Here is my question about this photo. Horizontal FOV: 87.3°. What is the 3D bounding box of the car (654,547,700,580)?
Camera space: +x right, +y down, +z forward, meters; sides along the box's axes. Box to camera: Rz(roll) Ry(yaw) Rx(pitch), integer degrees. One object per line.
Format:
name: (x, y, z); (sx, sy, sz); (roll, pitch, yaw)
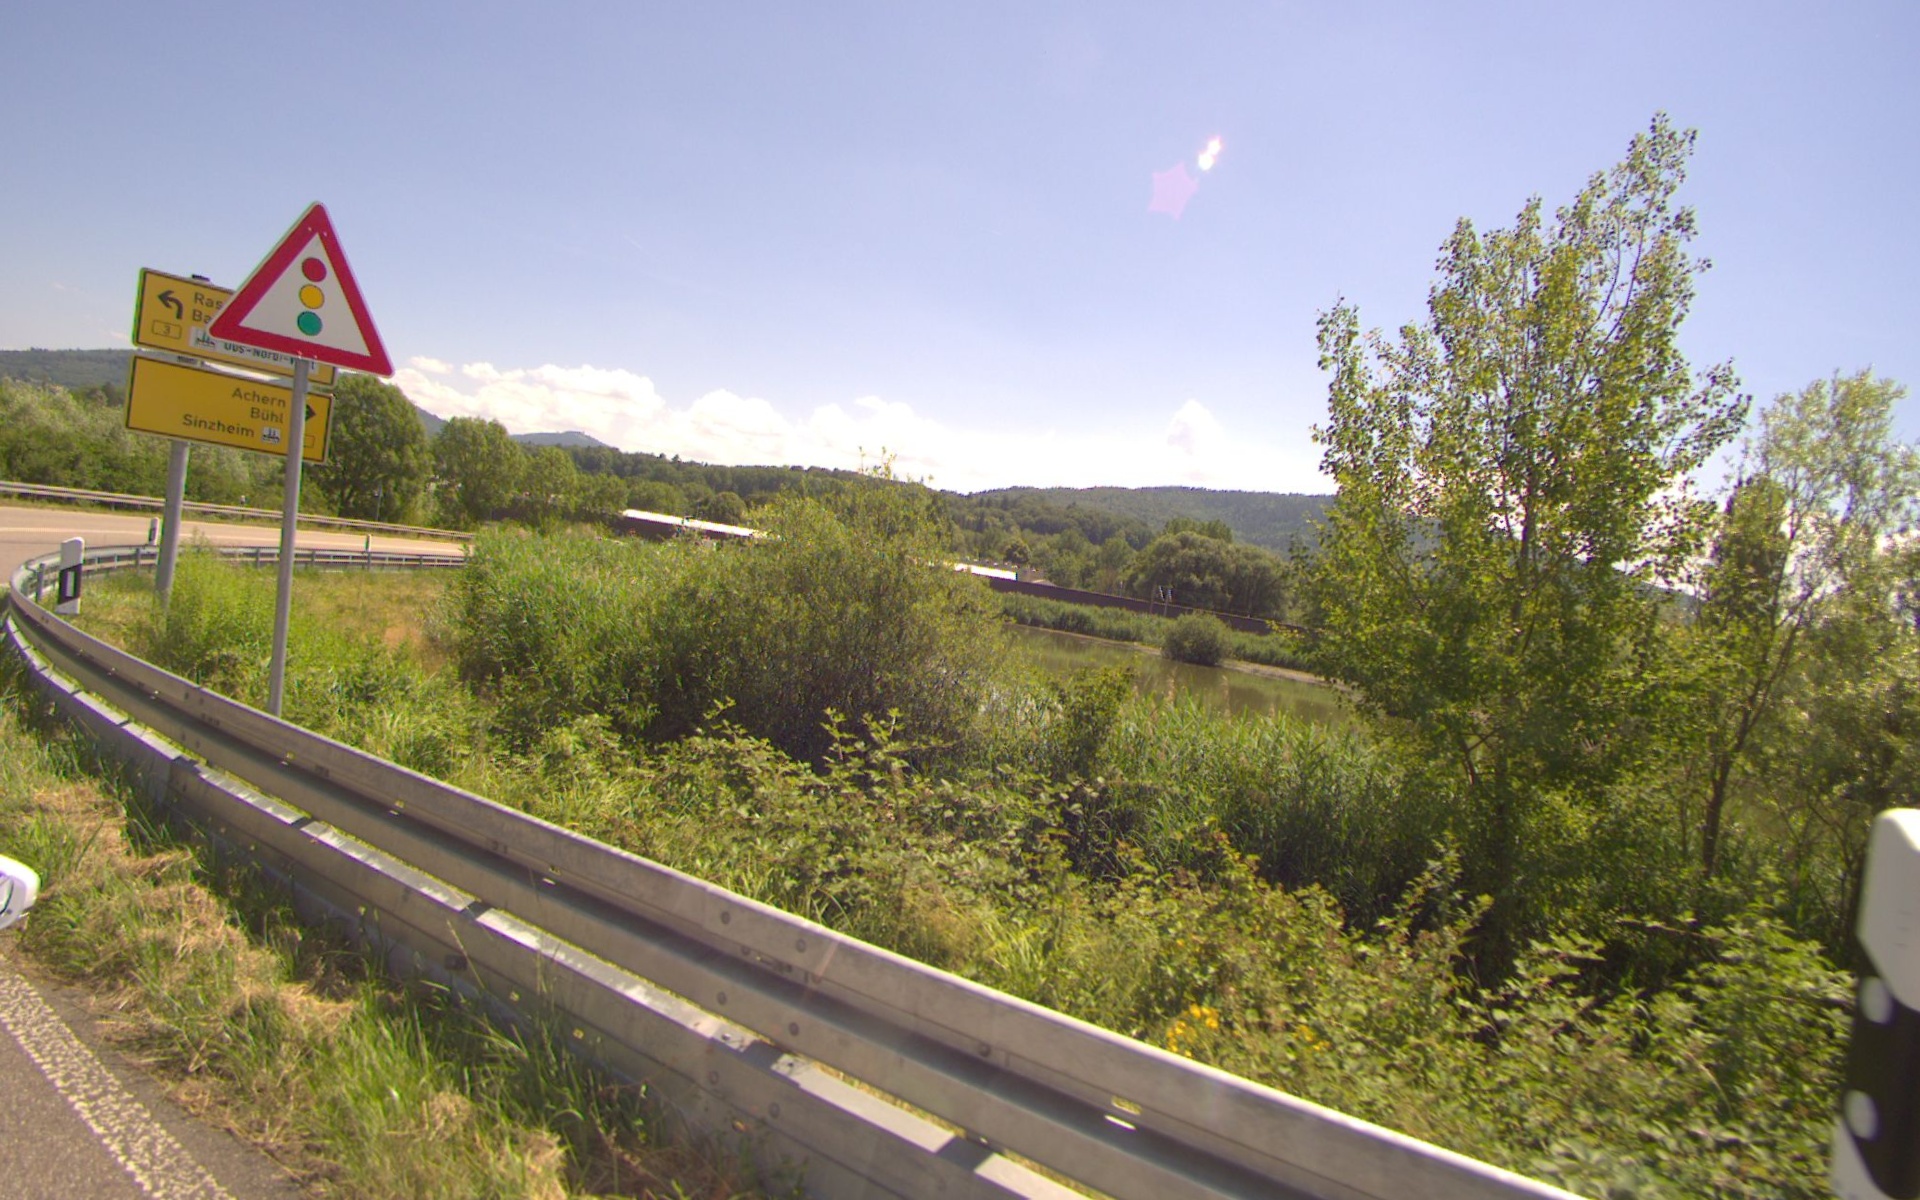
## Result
car: (-20.712, -2.640, 73.777); (1.842, 1.989, 3.999); (10, 1, 2)
